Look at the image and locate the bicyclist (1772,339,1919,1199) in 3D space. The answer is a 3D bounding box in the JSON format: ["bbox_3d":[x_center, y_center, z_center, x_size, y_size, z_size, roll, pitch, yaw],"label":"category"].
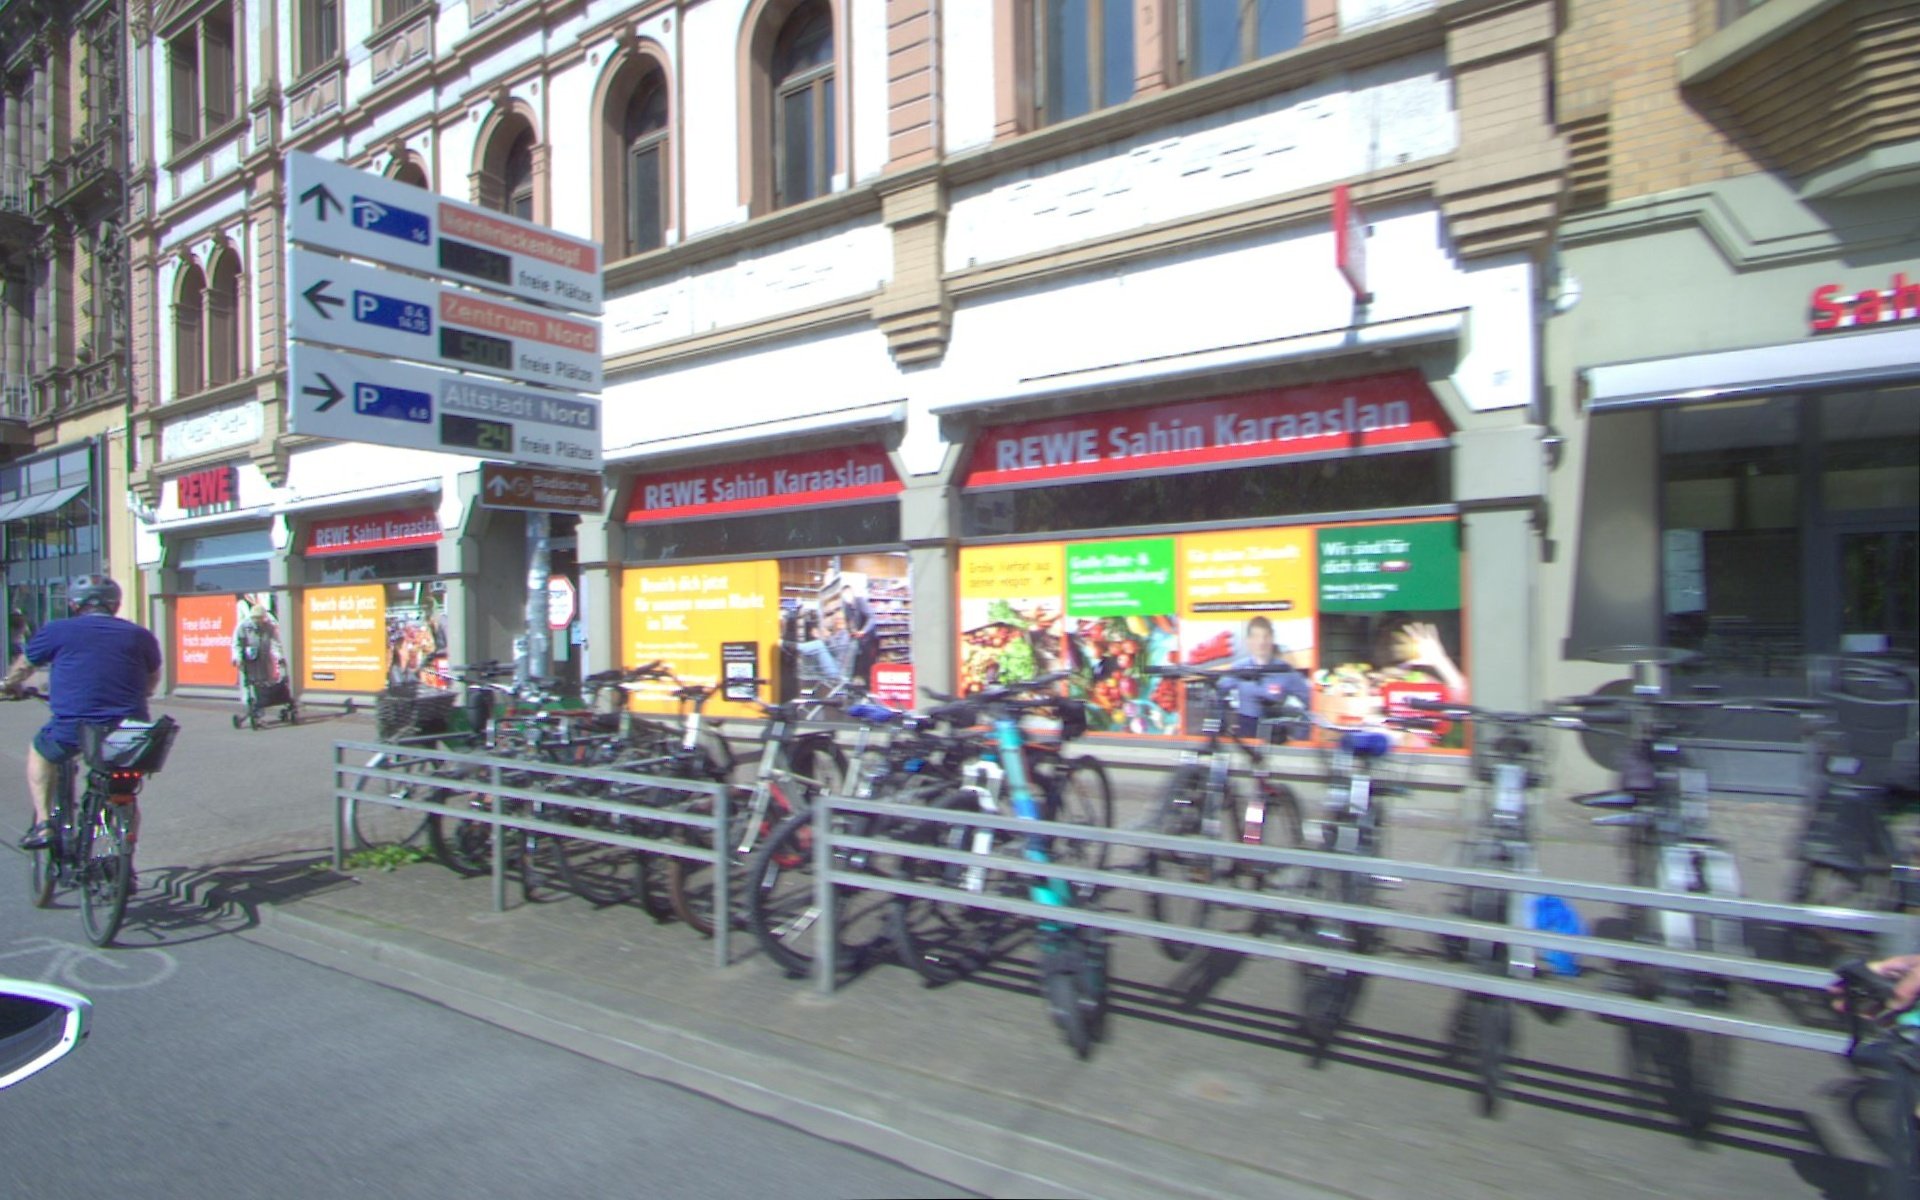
[{"bbox_3d":[1.705,0.450,1.117,1.126,1.481,0.687,-1,-2,31],"label":"bicyclist"}]

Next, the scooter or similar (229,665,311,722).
[{"bbox_3d":[-9.215,1.238,13.383,0.557,0.659,0.689,-2,3,32],"label":"scooter or similar"}]

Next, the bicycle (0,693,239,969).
[{"bbox_3d":[-4.565,1.070,5.127,1.883,1.106,0.733,-1,-2,31],"label":"bicycle"}]

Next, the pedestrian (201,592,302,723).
[{"bbox_3d":[-9.615,0.763,13.605,0.825,1.678,0.753,-2,3,32],"label":"pedestrian"}]

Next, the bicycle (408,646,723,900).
[{"bbox_3d":[-2.248,0.914,5.921,0.600,1.194,1.689,0,1,33],"label":"bicycle"}]

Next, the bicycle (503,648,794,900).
[{"bbox_3d":[-1.691,0.884,5.702,0.463,1.193,1.690,-1,-2,32],"label":"bicycle"}]

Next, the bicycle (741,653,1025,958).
[{"bbox_3d":[-0.294,0.870,4.871,0.453,1.193,1.690,-1,-2,33],"label":"bicycle"}]

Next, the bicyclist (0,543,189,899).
[{"bbox_3d":[-4.593,0.579,5.159,0.905,1.636,0.687,-1,-2,31],"label":"bicyclist"}]

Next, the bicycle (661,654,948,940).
[{"bbox_3d":[-0.717,0.891,5.146,0.453,1.193,1.690,-1,-2,33],"label":"bicycle"}]

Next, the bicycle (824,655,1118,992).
[{"bbox_3d":[0.133,0.863,4.517,0.506,1.193,1.690,-1,-2,33],"label":"bicycle"}]

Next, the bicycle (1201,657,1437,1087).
[{"bbox_3d":[1.401,0.829,3.720,0.445,1.193,1.690,-1,-2,33],"label":"bicycle"}]

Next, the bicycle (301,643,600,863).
[{"bbox_3d":[-3.295,0.919,6.638,0.600,1.194,1.689,0,0,33],"label":"bicycle"}]

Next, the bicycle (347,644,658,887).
[{"bbox_3d":[-2.782,0.934,6.283,0.600,1.195,1.689,0,2,33],"label":"bicycle"}]

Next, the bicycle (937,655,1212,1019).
[{"bbox_3d":[0.562,0.848,4.236,0.451,1.193,1.690,-1,-2,33],"label":"bicycle"}]

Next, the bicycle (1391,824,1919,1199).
[{"bbox_3d":[1.674,0.963,1.130,2.100,1.106,0.733,-1,-2,31],"label":"bicycle"}]

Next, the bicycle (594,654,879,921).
[{"bbox_3d":[-1.138,0.911,5.466,0.463,1.193,1.690,-1,-2,32],"label":"bicycle"}]

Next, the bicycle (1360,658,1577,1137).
[{"bbox_3d":[1.807,0.817,3.440,0.484,1.193,1.690,-1,-2,33],"label":"bicycle"}]

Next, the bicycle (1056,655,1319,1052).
[{"bbox_3d":[0.972,0.831,3.947,0.457,1.193,1.690,-1,-2,33],"label":"bicycle"}]

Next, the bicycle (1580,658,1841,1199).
[{"bbox_3d":[2.262,0.800,3.146,0.490,1.193,1.690,-1,-2,33],"label":"bicycle"}]

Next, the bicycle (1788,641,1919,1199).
[{"bbox_3d":[2.795,0.749,2.737,0.600,1.257,1.690,-1,-2,33],"label":"bicycle"}]
